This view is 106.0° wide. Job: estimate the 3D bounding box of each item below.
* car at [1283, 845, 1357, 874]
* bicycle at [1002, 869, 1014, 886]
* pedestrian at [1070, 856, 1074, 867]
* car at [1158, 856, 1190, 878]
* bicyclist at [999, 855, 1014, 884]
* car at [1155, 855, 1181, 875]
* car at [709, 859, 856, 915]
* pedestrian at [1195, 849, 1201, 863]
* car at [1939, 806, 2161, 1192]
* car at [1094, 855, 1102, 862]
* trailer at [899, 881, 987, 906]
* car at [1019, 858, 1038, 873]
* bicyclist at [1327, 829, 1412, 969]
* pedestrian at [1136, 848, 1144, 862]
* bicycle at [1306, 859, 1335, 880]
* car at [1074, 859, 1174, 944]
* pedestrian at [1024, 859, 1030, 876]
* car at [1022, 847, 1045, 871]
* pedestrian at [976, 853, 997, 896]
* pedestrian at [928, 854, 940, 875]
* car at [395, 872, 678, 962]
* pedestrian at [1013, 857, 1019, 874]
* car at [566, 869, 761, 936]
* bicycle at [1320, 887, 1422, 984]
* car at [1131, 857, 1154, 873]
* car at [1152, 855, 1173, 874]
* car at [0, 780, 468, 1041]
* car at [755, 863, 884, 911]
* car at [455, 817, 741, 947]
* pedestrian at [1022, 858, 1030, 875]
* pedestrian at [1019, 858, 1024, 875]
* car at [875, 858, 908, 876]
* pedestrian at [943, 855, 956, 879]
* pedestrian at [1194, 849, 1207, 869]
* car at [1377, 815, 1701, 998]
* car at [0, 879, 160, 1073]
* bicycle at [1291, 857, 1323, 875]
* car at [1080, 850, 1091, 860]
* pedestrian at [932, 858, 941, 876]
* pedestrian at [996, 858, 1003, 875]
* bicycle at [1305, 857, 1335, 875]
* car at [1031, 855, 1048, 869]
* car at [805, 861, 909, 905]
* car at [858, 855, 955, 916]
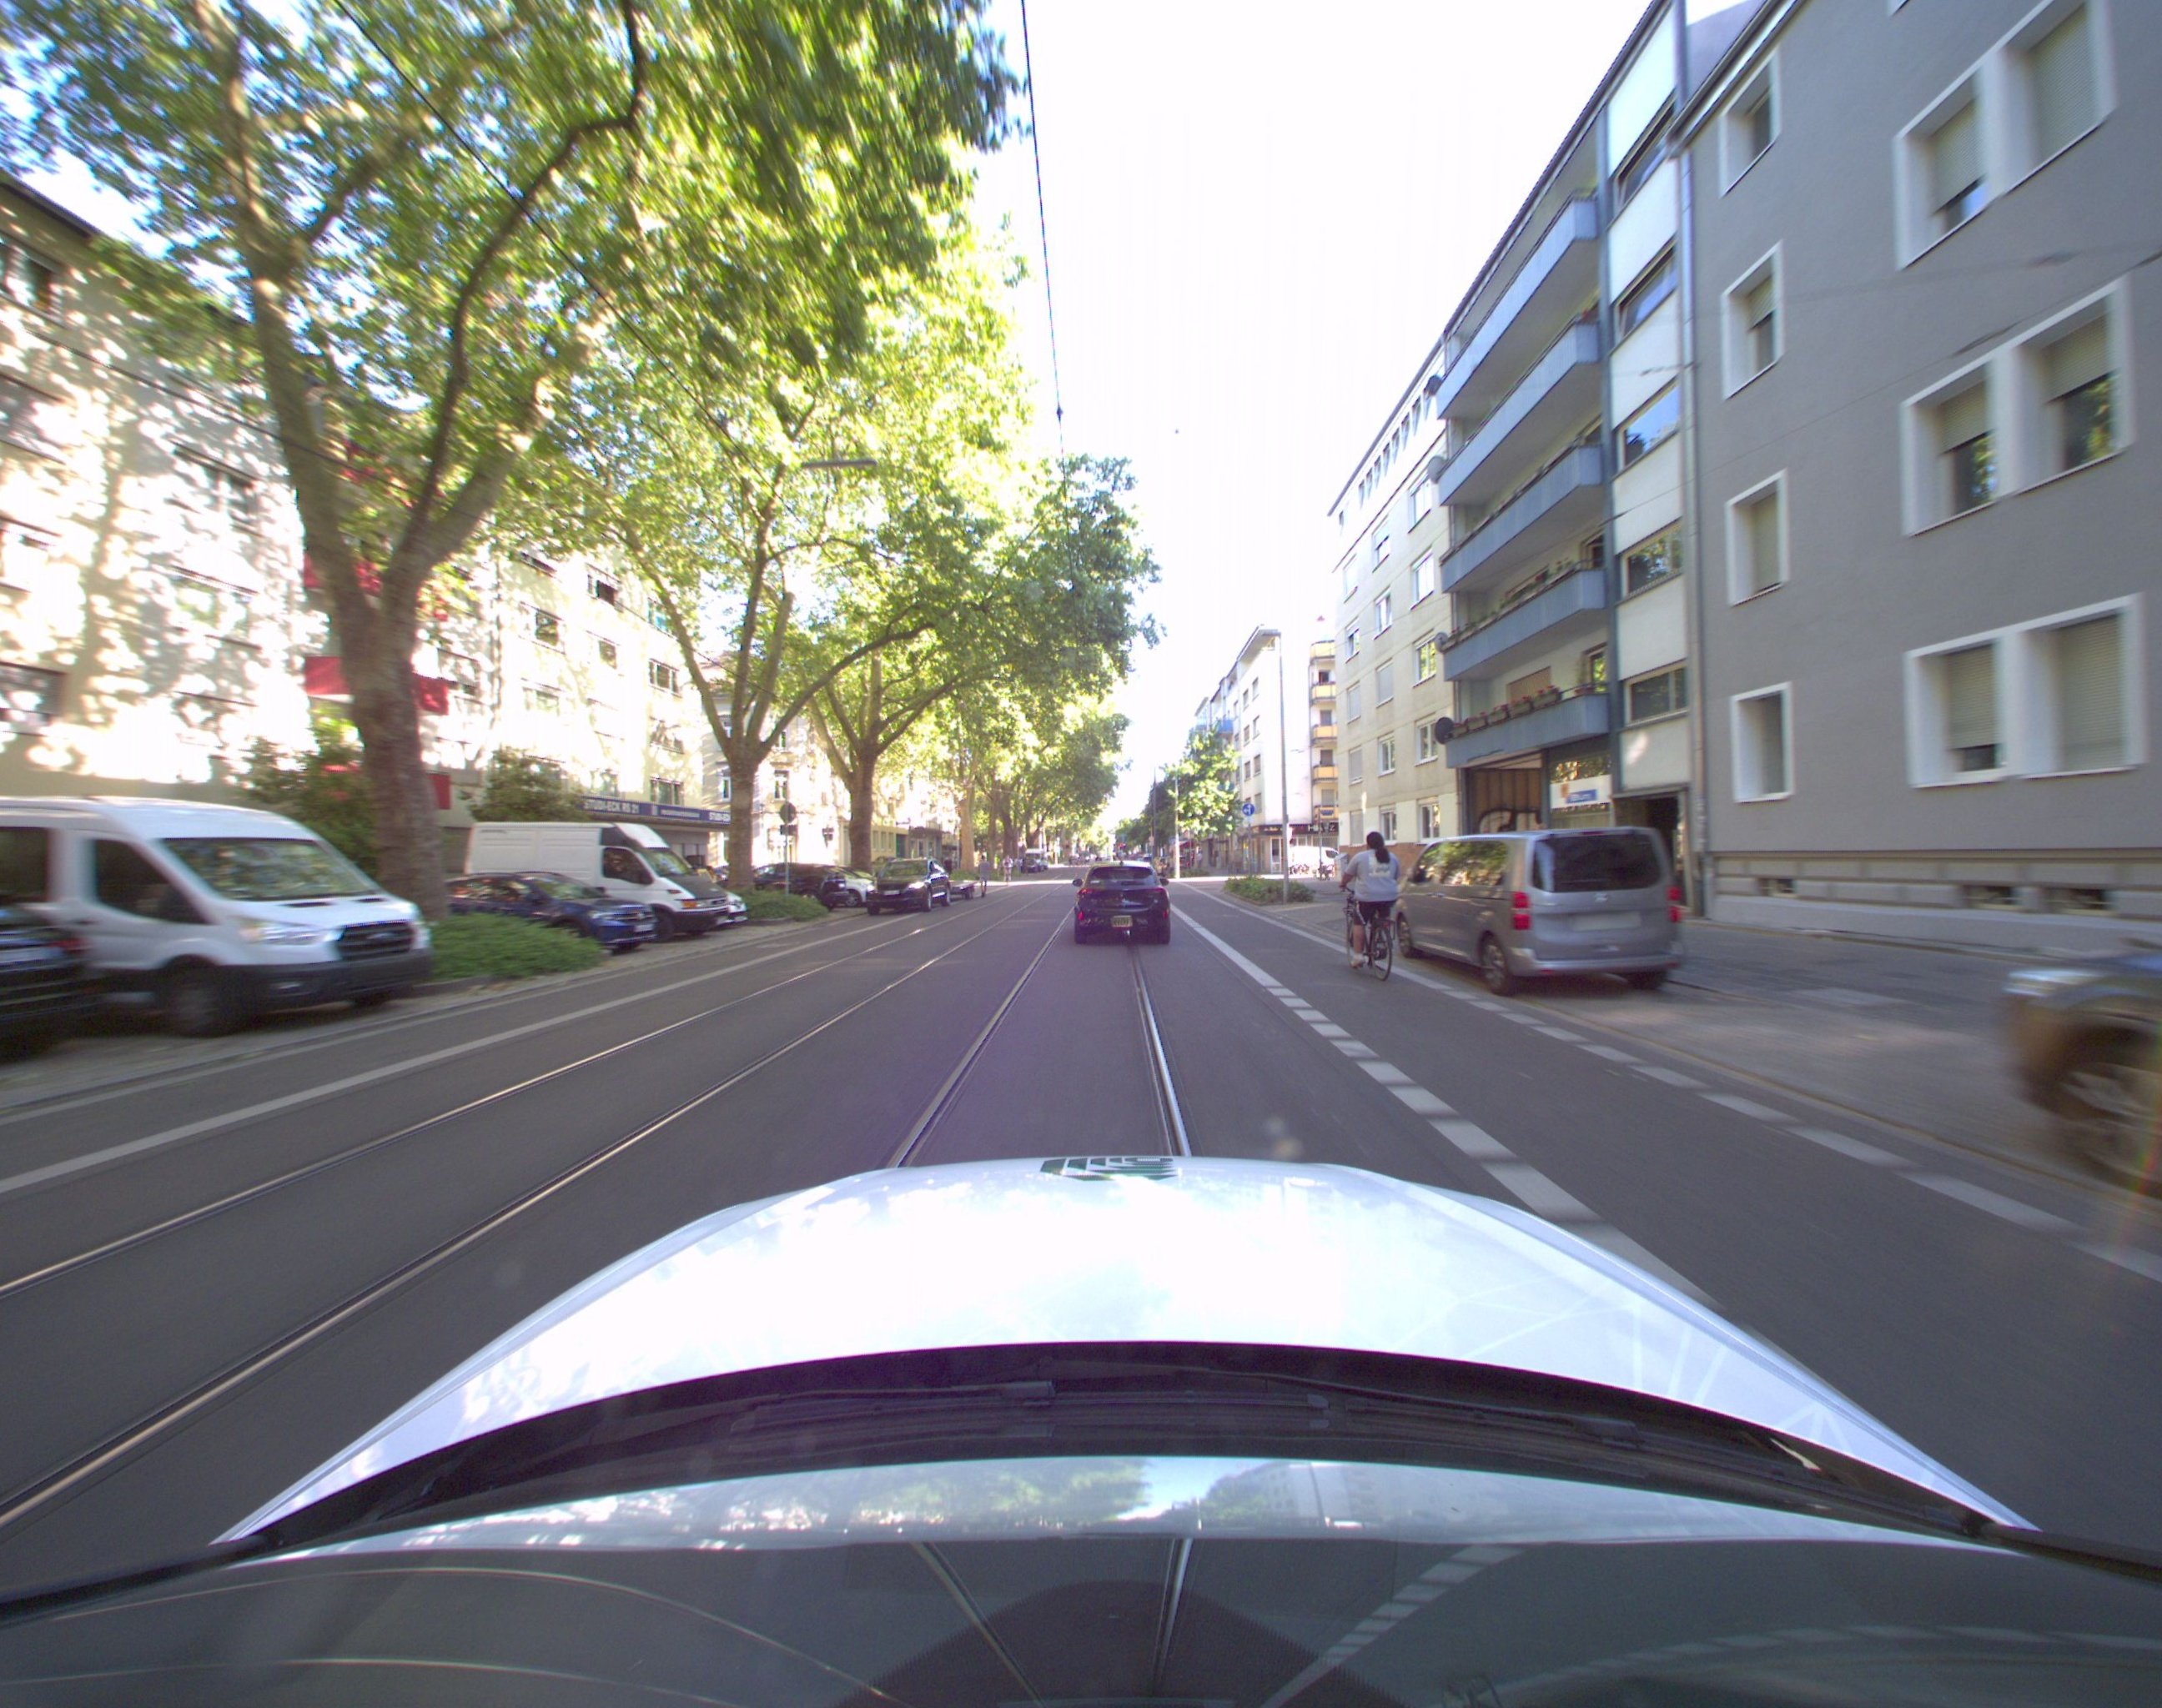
[{"bbox_3d":[16.063,0.365,54.857,4.347,1.831,1.998,-1,0,-2],"label":"car"},{"bbox_3d":[-4.305,1.369,48.202,0.518,0.962,1.929,-1,0,1],"label":"bicycle"},{"bbox_3d":[-1.284,1.072,115.899,0.594,1.590,0.891,-1,0,-5],"label":"pedestrian"},{"bbox_3d":[6.848,0.931,60.132,1.714,1.574,4.081,-1,0,-2],"label":"car"},{"bbox_3d":[-4.409,0.882,48.195,0.782,1.678,0.957,-1,0,0],"label":"bicyclist"},{"bbox_3d":[6.999,0.860,66.085,1.712,1.490,3.681,-1,0,0],"label":"car"},{"bbox_3d":[-9.544,1.045,26.271,3.973,1.647,1.894,-1,0,0],"label":"car"},{"bbox_3d":[14.499,0.211,101.016,0.626,1.732,0.633,-1,0,8],"label":"pedestrian"},{"bbox_3d":[5.605,0.617,2.359,1.760,1.705,4.284,-1,0,1],"label":"car"},{"bbox_3d":[4.263,1.103,199.469,1.742,1.651,4.004,-1,0,4],"label":"car"},{"bbox_3d":[-5.241,1.485,31.940,2.152,0.632,6.403,-1,0,2],"label":"trailer"},{"bbox_3d":[-5.579,1.194,86.712,1.749,1.508,3.998,-1,0,-1],"label":"car"},{"bbox_3d":[3.802,0.570,10.792,0.783,1.759,0.915,-1,-1,1],"label":"bicyclist"},{"bbox_3d":[8.735,0.174,120.498,0.853,2.013,1.070,-6,-1,2],"label":"pedestrian"},{"bbox_3d":[12.629,0.801,42.970,0.801,1.015,1.966,-2,0,-3],"label":"bicycle"},{"bbox_3d":[0.778,0.815,15.515,1.673,1.422,3.629,0,0,1],"label":"car"},{"bbox_3d":[-5.117,1.247,77.248,0.505,1.583,0.527,-1,-1,1],"label":"pedestrian"},{"bbox_3d":[-5.363,0.515,93.047,2.084,2.584,5.999,-1,0,2],"label":"car"},{"bbox_3d":[-3.940,0.835,33.939,0.712,1.735,0.909,-3,0,-12],"label":"pedestrian"},{"bbox_3d":[-11.740,0.817,65.081,0.845,1.632,0.643,-1,0,-4],"label":"pedestrian"},{"bbox_3d":[-10.004,1.126,15.176,4.003,1.466,1.873,-1,0,2],"label":"car"},{"bbox_3d":[-6.144,1.125,76.978,0.505,1.583,0.526,-1,-1,-2],"label":"pedestrian"},{"bbox_3d":[-10.256,1.165,20.234,3.841,1.478,1.860,-1,0,0],"label":"car"},{"bbox_3d":[3.783,1.019,10.792,0.698,1.092,1.991,1,-1,2],"label":"bicycle"},{"bbox_3d":[6.357,1.117,84.826,1.988,1.640,3.997,-1,0,-2],"label":"car"},{"bbox_3d":[6.977,0.857,69.916,1.644,1.574,3.086,-1,0,4],"label":"car"},{"bbox_3d":[-10.239,0.586,9.012,5.339,2.477,2.058,-1,0,2],"label":"car"},{"bbox_3d":[-9.223,1.151,28.946,3.973,1.522,1.771,-1,0,0],"label":"car"},{"bbox_3d":[-10.377,0.573,17.830,4.930,2.567,2.081,-1,0,-2],"label":"car"},{"bbox_3d":[-5.225,1.185,77.854,0.681,1.583,0.557,-1,-1,0],"label":"pedestrian"},{"bbox_3d":[-5.648,1.190,77.223,0.345,1.583,0.508,-1,-1,0],"label":"pedestrian"},{"bbox_3d":[-16.407,1.117,70.675,1.675,1.517,4.003,0,0,3],"label":"car"},{"bbox_3d":[-10.554,1.019,65.509,0.903,1.869,0.643,-1,0,-4],"label":"pedestrian"},{"bbox_3d":[10.407,0.437,70.720,0.799,1.748,0.761,-1,-1,-40],"label":"pedestrian"},{"bbox_3d":[5.717,0.557,11.055,1.850,1.890,4.929,-1,0,4],"label":"car"},{"bbox_3d":[-10.927,1.040,6.806,4.354,1.539,1.873,-1,0,1],"label":"car"},{"bbox_3d":[14.327,0.768,51.689,1.827,1.117,0.704,-2,0,4],"label":"bicycle"},{"bbox_3d":[0.953,0.267,179.124,1.988,2.211,5.098,-1,0,-2],"label":"car"},{"bbox_3d":[-13.595,1.197,76.616,0.549,1.652,0.650,-2,0,5],"label":"pedestrian"},{"bbox_3d":[-7.755,1.194,77.414,0.507,1.583,0.524,-1,-1,-14],"label":"pedestrian"},{"bbox_3d":[14.836,0.744,50.588,1.759,1.117,0.616,-2,0,15],"label":"bicycle"},{"bbox_3d":[-5.303,0.961,103.831,1.989,1.717,3.995,-1,0,-4],"label":"car"},{"bbox_3d":[-8.443,1.073,30.893,3.421,1.530,1.786,-1,0,-2],"label":"car"},{"bbox_3d":[-5.554,0.941,26.517,1.986,1.700,4.486,-3,0,2],"label":"car"}]
